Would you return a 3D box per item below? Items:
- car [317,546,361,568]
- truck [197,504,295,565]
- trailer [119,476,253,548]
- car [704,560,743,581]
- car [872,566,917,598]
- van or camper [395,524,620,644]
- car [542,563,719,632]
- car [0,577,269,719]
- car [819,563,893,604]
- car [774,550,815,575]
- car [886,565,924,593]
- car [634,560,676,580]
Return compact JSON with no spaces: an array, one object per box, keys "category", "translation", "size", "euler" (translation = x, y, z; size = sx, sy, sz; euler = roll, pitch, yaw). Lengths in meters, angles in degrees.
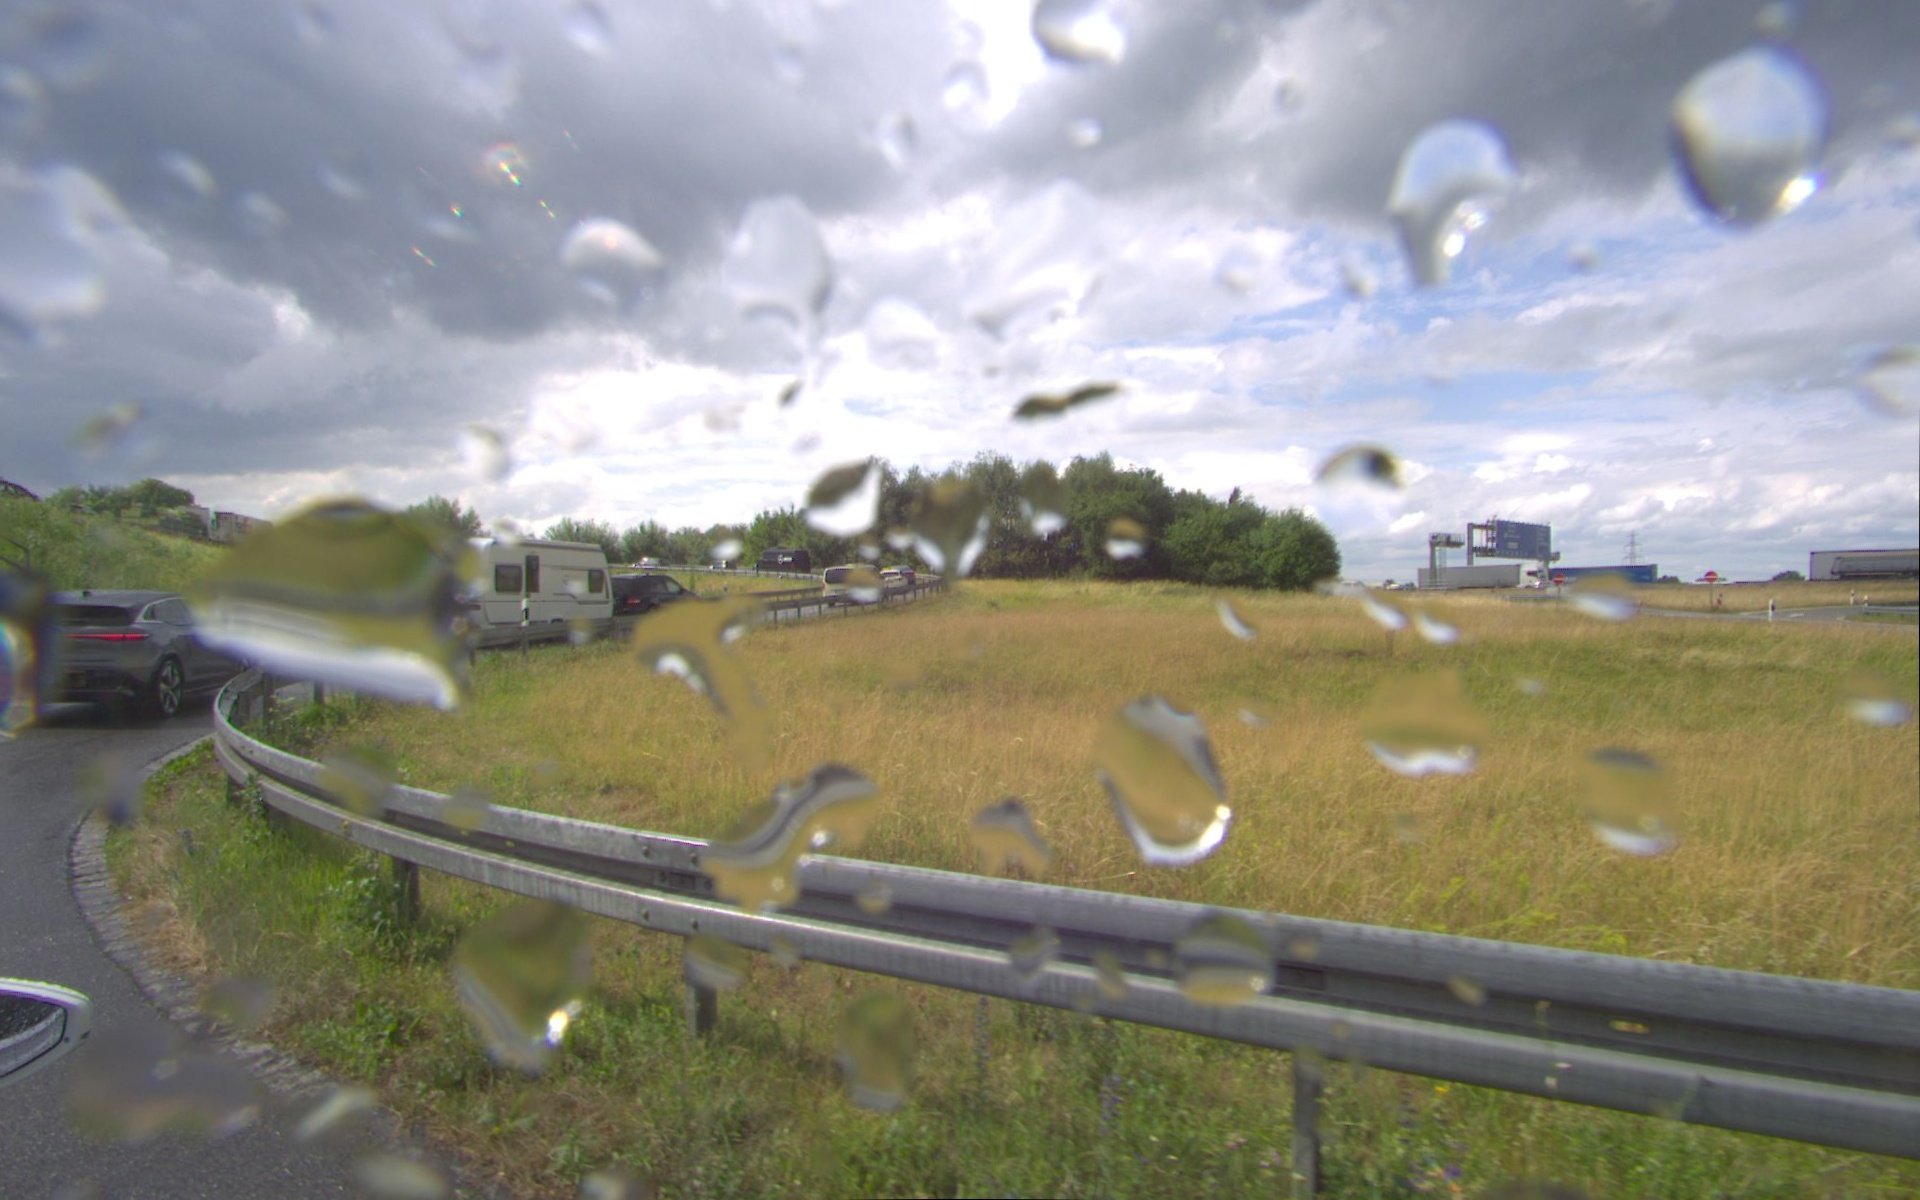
[{"category":"car","translation":[-67.047,-4.643,108.128],"size":[3.942,2.039,1.818],"euler":[1,-1,-29]},{"category":"truck","translation":[-74.557,-6.595,105.234],"size":[4.403,4.560,19.315],"euler":[1,-2,-23]},{"category":"trailer","translation":[-66.884,-7.311,87.417],"size":[4.356,4.006,20.155],"euler":[1,-2,-23]},{"category":"car","translation":[-23.838,-2.950,100.913],"size":[3.954,2.041,1.983],"euler":[0,1,42]},{"category":"car","translation":[-3.961,-1.076,61.473],"size":[1.961,1.886,5.055],"euler":[0,1,5]},{"category":"van or camper","translation":[-11.660,-0.438,26.462],"size":[2.392,2.767,5.995],"euler":[2,1,11]},{"category":"car","translation":[-10.286,-0.136,31.853],"size":[2.392,1.952,5.748],"euler":[1,1,18]},{"category":"car","translation":[-10.675,0.532,13.018],"size":[1.694,1.545,3.990],"euler":[2,0,-19]},{"category":"car","translation":[-4.995,-0.797,48.776],"size":[1.963,1.886,5.050],"euler":[0,1,15]},{"category":"car","translation":[-15.367,-3.493,92.933],"size":[1.979,2.039,3.965],"euler":[1,-2,-41]},{"category":"car","translation":[-3.935,-1.477,71.391],"size":[1.963,1.886,5.051],"euler":[0,1,-12]},{"category":"car","translation":[-32.005,-3.149,105.116],"size":[3.937,2.041,1.991],"euler":[3,2,29]}]
